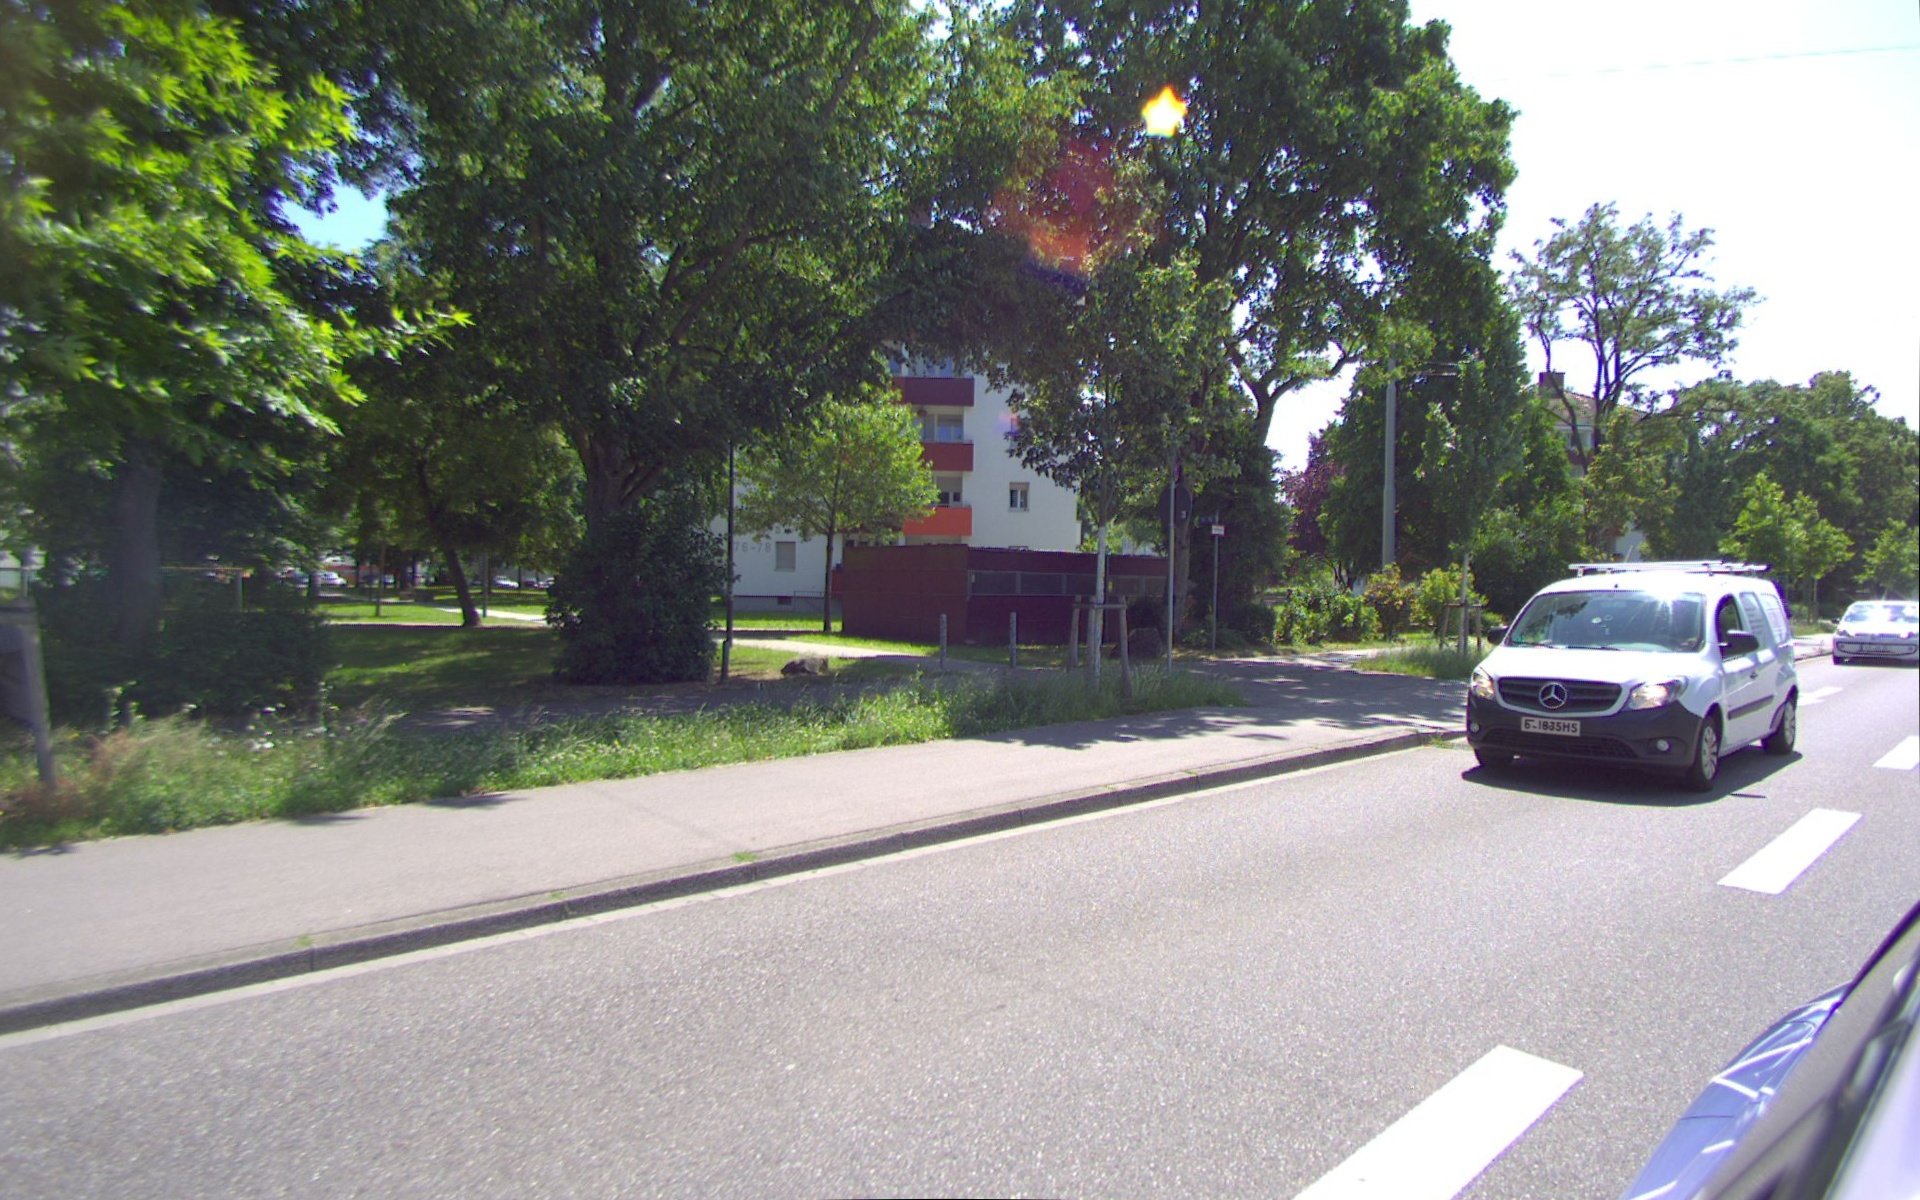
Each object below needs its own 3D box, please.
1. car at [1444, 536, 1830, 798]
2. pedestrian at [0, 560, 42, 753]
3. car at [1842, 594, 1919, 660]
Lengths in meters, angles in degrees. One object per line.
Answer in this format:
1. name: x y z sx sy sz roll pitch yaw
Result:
1. car: 6.598 0.478 9.597 4.993 1.879 1.808 0 0 -41
2. pedestrian: -7.392 0.415 7.559 0.749 1.416 0.709 0 -1 -40
3. car: 22.164 0.605 23.939 3.440 1.459 1.623 0 0 -43
